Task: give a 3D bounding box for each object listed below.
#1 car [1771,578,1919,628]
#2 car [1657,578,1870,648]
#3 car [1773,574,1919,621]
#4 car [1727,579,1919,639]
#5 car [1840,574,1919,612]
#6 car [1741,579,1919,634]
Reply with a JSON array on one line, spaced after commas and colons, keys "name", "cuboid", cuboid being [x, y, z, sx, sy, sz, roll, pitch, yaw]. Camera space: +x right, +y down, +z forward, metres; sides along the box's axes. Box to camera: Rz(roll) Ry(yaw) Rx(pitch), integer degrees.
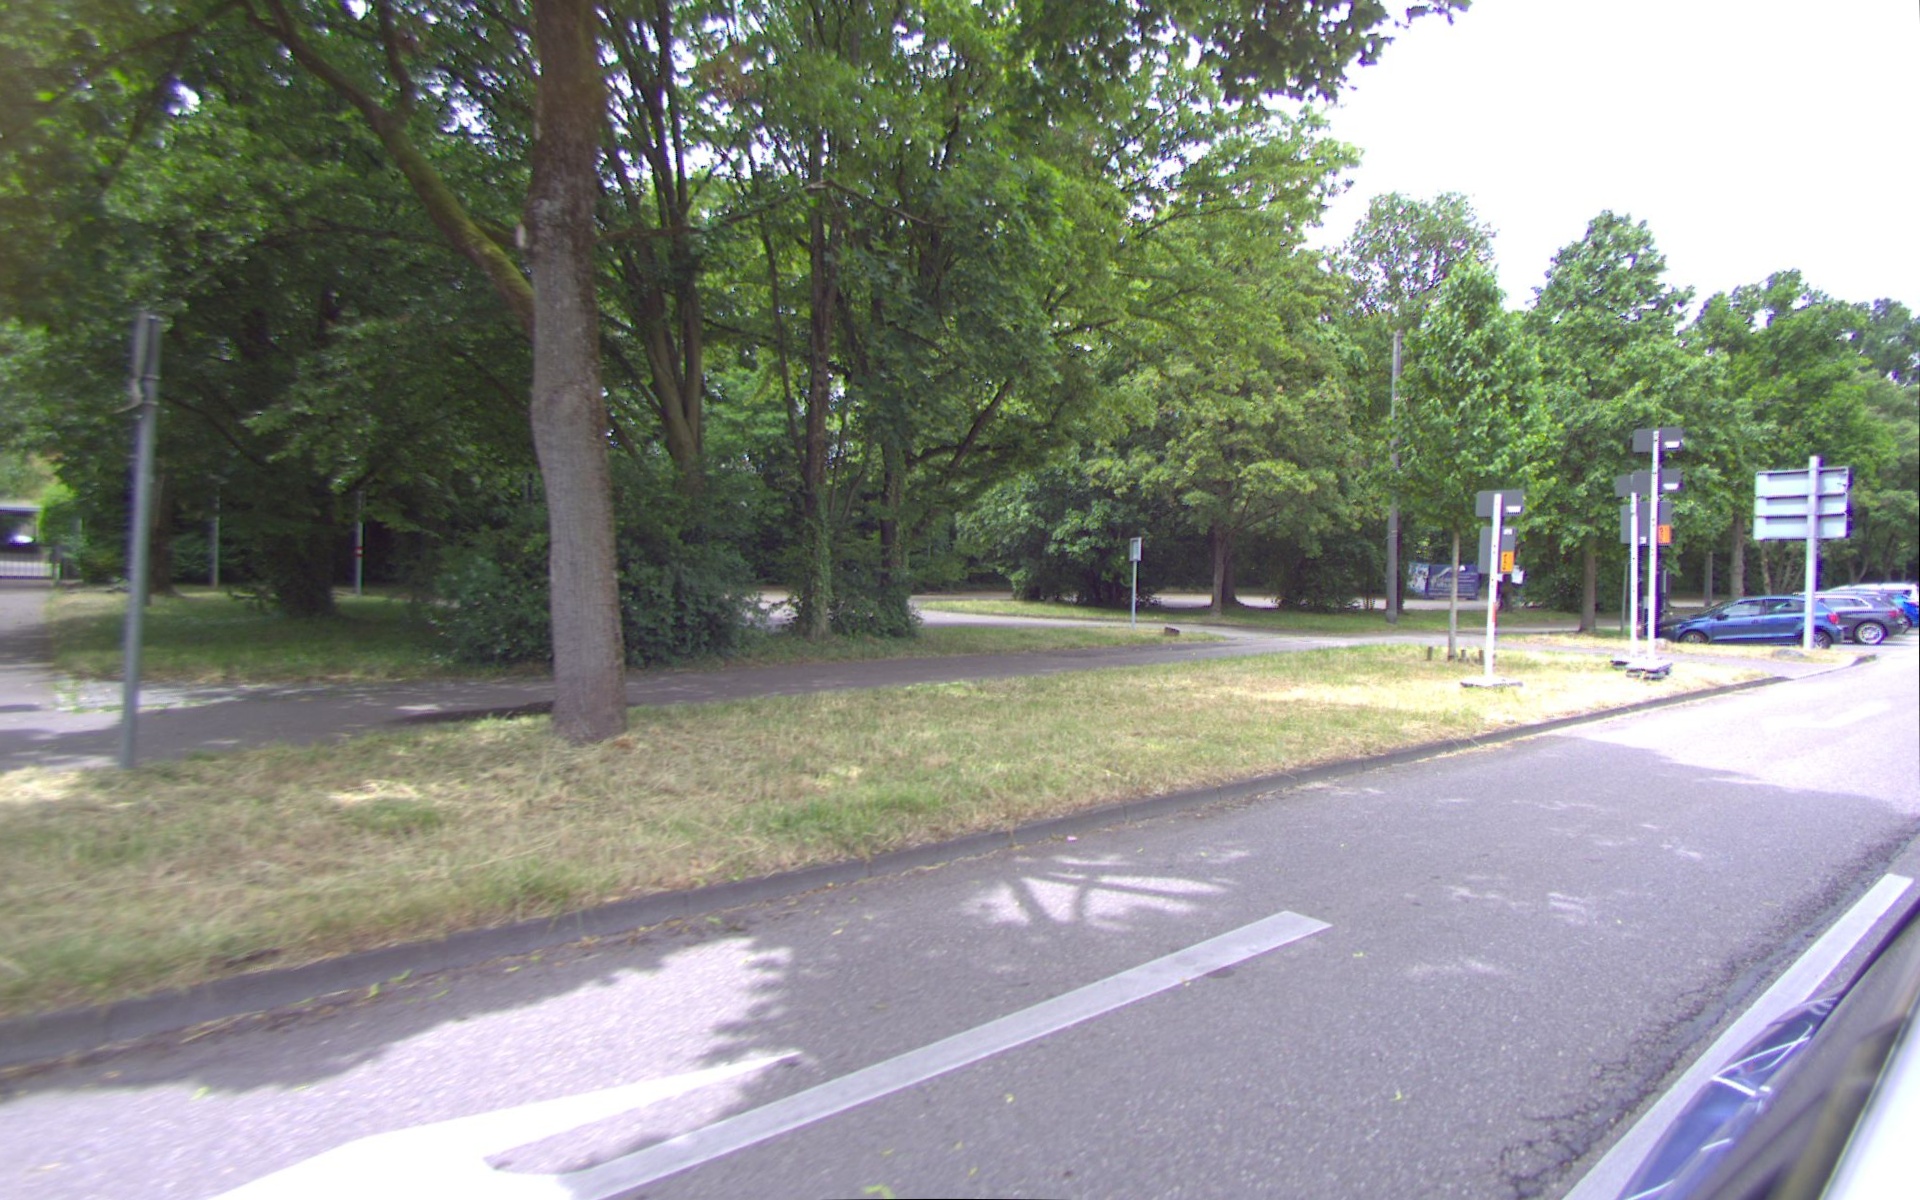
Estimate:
[{"name": "car", "cuboid": [30.272, 0.069, 34.384, 3.971, 1.504, 1.897, 3, 2, 33]}, {"name": "car", "cuboid": [20.434, 0.275, 25.985, 3.966, 1.504, 1.899, 3, 3, 30]}, {"name": "car", "cuboid": [33.627, -0.105, 38.075, 4.377, 1.629, 1.981, 2, 1, 28]}, {"name": "car", "cuboid": [24.670, 0.206, 29.099, 3.971, 1.504, 1.897, 3, 2, 33]}, {"name": "car", "cuboid": [42.101, -0.311, 44.897, 4.392, 1.629, 1.974, 2, 1, 36]}, {"name": "car", "cuboid": [26.924, 0.147, 31.453, 3.971, 1.504, 1.897, 3, 2, 33]}]
